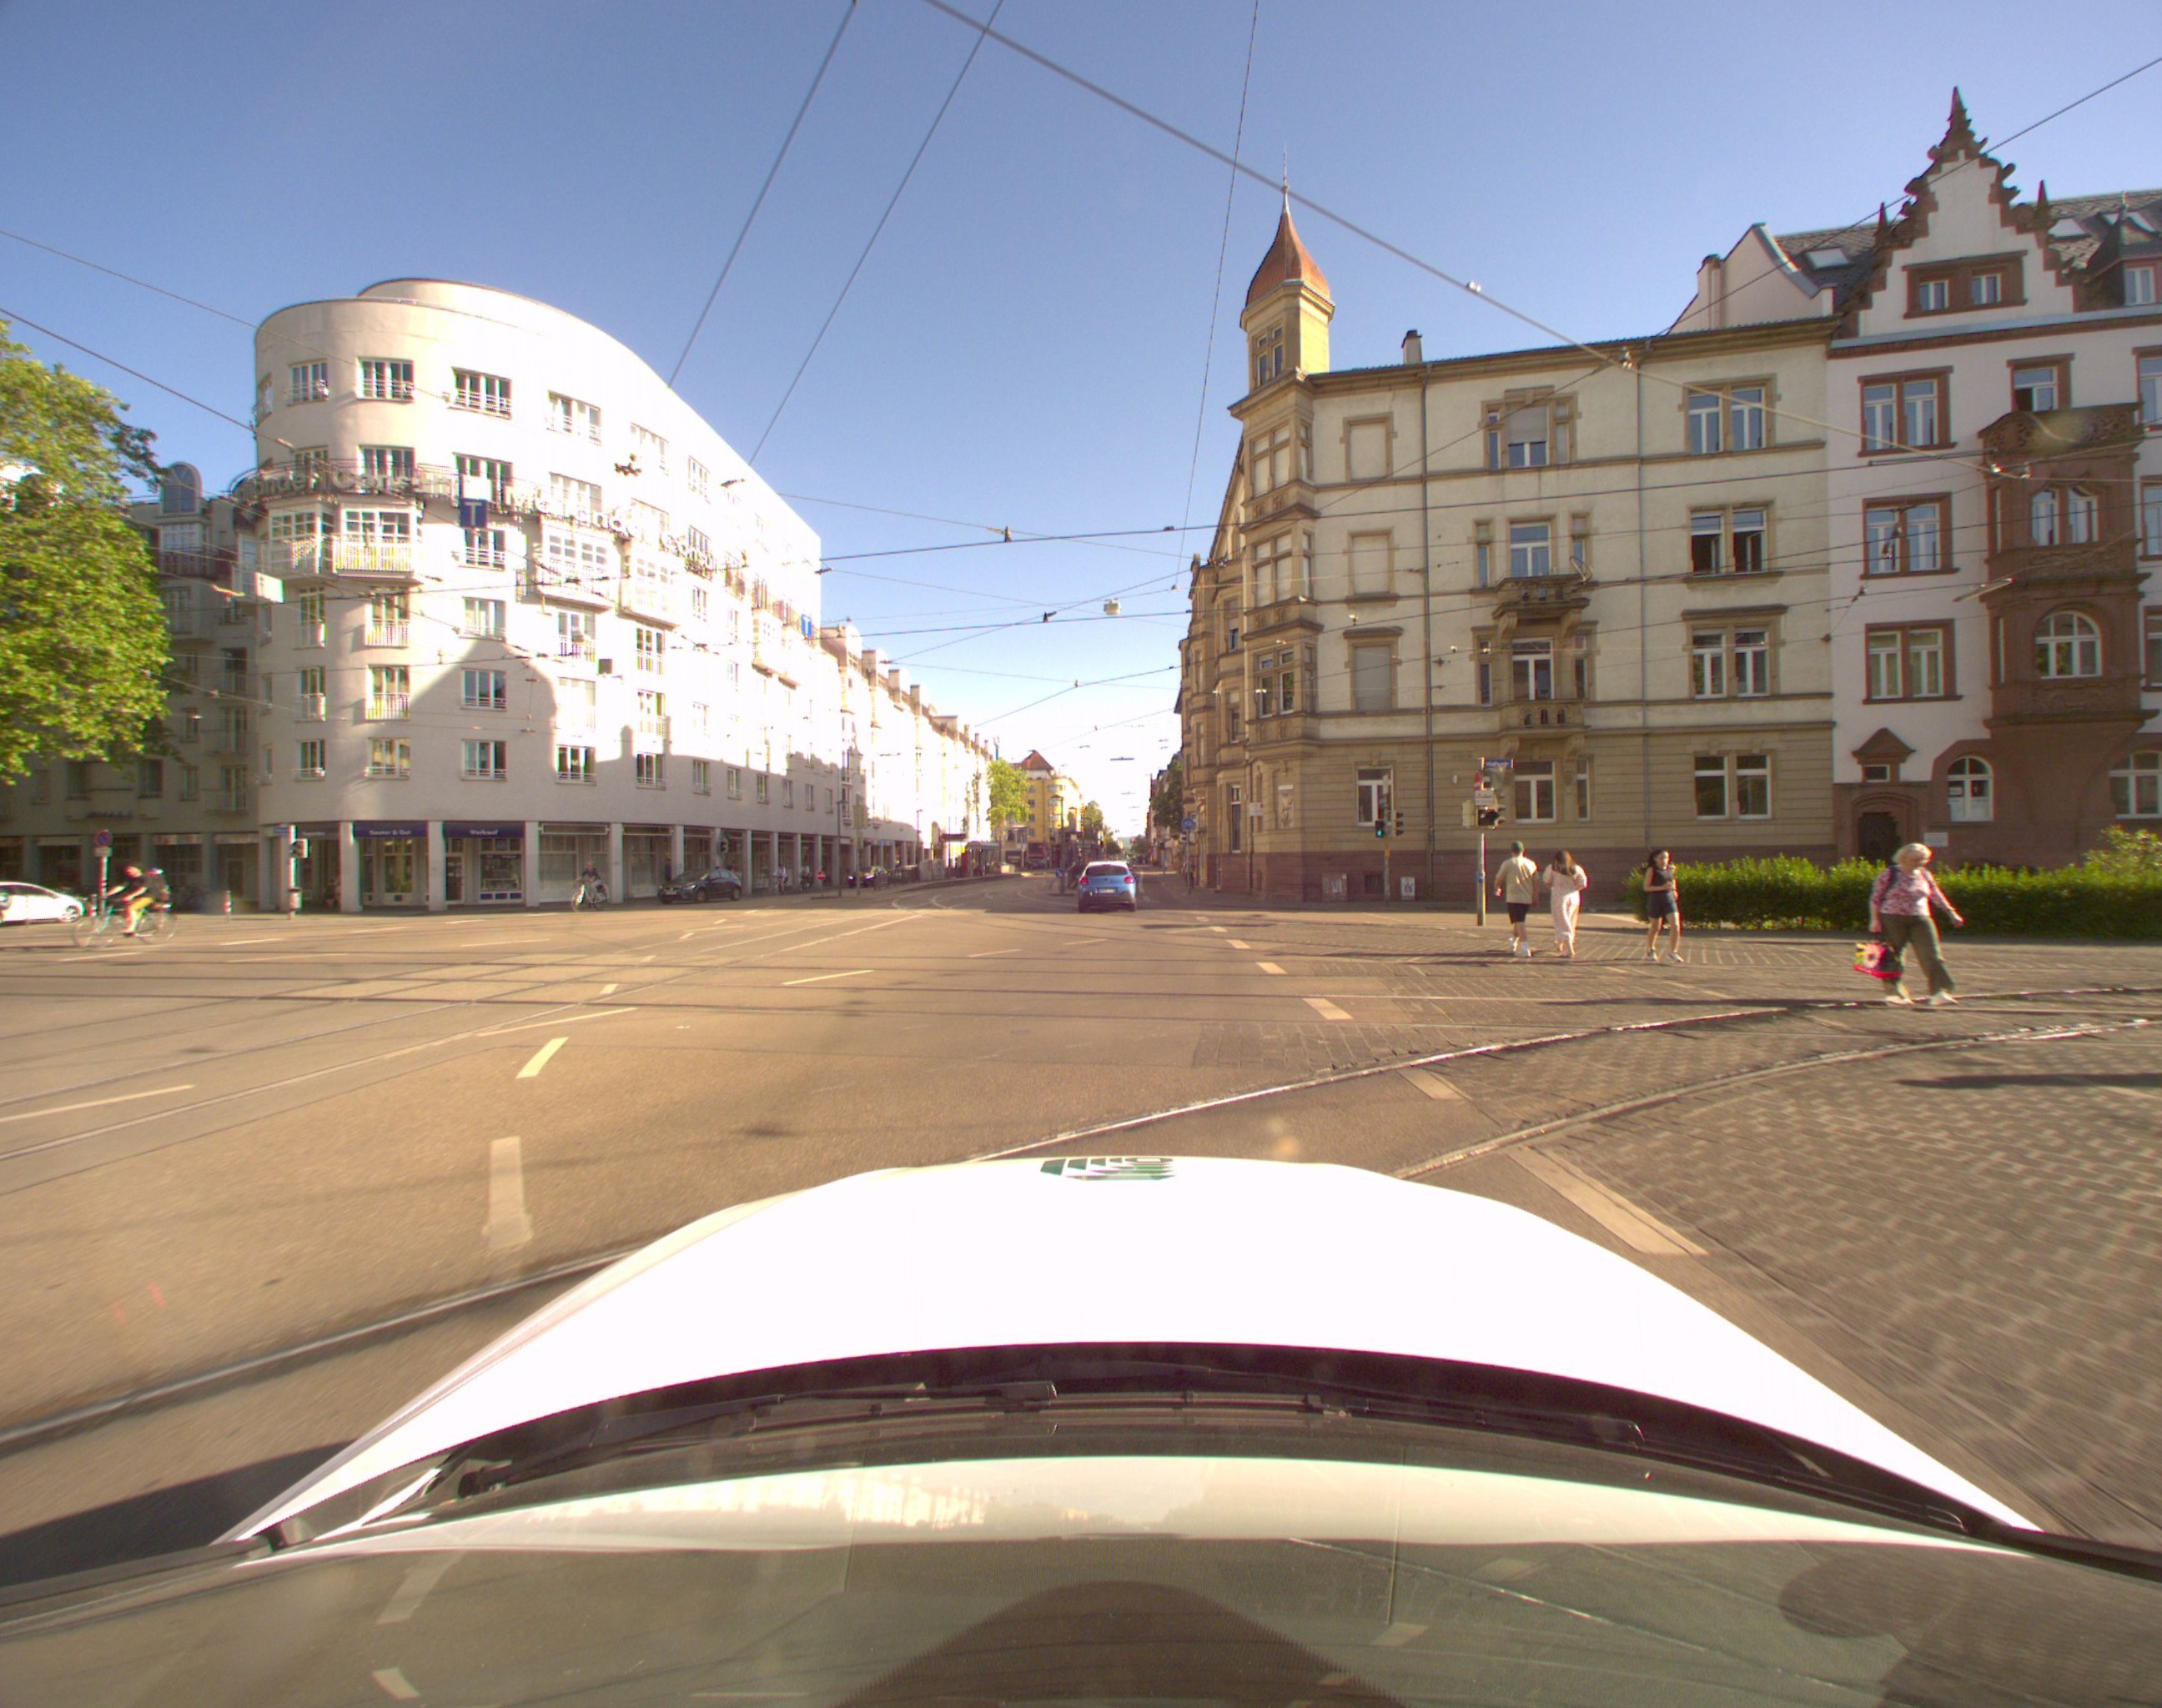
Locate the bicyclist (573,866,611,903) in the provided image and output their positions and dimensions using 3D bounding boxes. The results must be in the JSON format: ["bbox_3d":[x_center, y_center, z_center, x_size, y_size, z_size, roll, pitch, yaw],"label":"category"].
[{"bbox_3d":[-17.275,1.070,28.772,0.584,1.285,0.996,-1,0,15],"label":"bicyclist"}]

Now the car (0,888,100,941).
[{"bbox_3d":[-35.134,1.996,26.514,1.798,1.402,4.089,-1,3,-10],"label":"car"}]

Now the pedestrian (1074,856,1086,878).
[{"bbox_3d":[-0.112,1.022,64.556,0.710,1.777,0.569,-1,1,39],"label":"pedestrian"}]

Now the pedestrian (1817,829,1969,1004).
[{"bbox_3d":[8.173,0.587,8.259,0.913,1.632,0.948,-1,-1,35],"label":"pedestrian"}]

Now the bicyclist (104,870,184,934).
[{"bbox_3d":[-19.848,0.998,17.271,0.586,1.285,0.928,-1,0,4],"label":"bicyclist"}]

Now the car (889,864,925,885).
[{"bbox_3d":[-13.794,1.572,64.736,1.721,1.514,4.408,-1,1,3],"label":"car"}]

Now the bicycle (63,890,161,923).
[{"bbox_3d":[-38.863,2.104,32.690,2.881,1.234,0.598,-1,2,-6],"label":"bicycle"}]

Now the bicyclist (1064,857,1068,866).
[{"bbox_3d":[-2.539,1.226,139.068,0.669,1.557,0.779,0,1,5],"label":"bicyclist"}]

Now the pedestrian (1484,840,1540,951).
[{"bbox_3d":[6.620,0.622,12.540,0.694,1.654,0.635,-1,-1,25],"label":"pedestrian"}]

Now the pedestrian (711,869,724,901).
[{"bbox_3d":[-17.768,1.502,39.782,0.444,1.534,0.676,-2,2,-33],"label":"pedestrian"}]

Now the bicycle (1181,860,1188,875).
[{"bbox_3d":[8.300,1.095,65.266,0.457,1.123,1.775,-2,1,4],"label":"bicycle"}]

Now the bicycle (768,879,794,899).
[{"bbox_3d":[-16.096,1.884,43.728,0.591,0.972,2.013,-1,0,2],"label":"bicycle"}]

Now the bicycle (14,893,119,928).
[{"bbox_3d":[-38.658,2.137,31.062,2.881,1.234,0.598,-1,2,-6],"label":"bicycle"}]

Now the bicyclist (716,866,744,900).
[{"bbox_3d":[-18.059,1.484,41.906,0.715,1.695,1.036,0,0,32],"label":"bicyclist"}]

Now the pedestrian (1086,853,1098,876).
[{"bbox_3d":[0.811,0.757,59.703,0.632,1.697,0.936,1,0,11],"label":"pedestrian"}]

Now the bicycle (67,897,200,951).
[{"bbox_3d":[-19.845,1.447,17.117,0.591,0.972,1.820,-1,0,4],"label":"bicycle"}]

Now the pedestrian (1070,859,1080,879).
[{"bbox_3d":[-0.463,1.176,63.910,0.579,1.561,0.472,-1,1,39],"label":"pedestrian"}]

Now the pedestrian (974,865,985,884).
[{"bbox_3d":[-8.419,1.709,67.618,0.728,1.527,0.743,0,1,2],"label":"pedestrian"}]

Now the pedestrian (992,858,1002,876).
[{"bbox_3d":[-7.462,1.119,72.086,0.728,1.559,0.743,0,1,2],"label":"pedestrian"}]

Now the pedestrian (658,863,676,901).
[{"bbox_3d":[-20.393,1.371,40.144,0.458,1.832,0.746,0,2,2],"label":"pedestrian"}]

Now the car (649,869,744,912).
[{"bbox_3d":[-16.220,1.503,34.611,1.986,1.596,4.001,-1,0,2],"label":"car"}]

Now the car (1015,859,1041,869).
[{"bbox_3d":[-8.518,1.611,131.826,3.973,1.674,1.958,-1,1,0],"label":"car"}]

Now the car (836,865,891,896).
[{"bbox_3d":[-14.780,1.763,55.607,2.218,1.911,4.613,-1,1,3],"label":"car"}]

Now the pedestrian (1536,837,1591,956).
[{"bbox_3d":[7.328,0.621,12.398,0.637,1.745,0.709,1,-1,25],"label":"pedestrian"}]

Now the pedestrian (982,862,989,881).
[{"bbox_3d":[-10.234,1.866,87.253,0.666,2.014,0.709,1,0,5],"label":"pedestrian"}]

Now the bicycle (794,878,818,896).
[{"bbox_3d":[-16.082,1.933,47.671,0.591,0.972,2.048,-1,0,2],"label":"bicycle"}]

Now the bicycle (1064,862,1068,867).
[{"bbox_3d":[-2.555,1.832,139.095,0.563,0.757,1.940,0,1,5],"label":"bicycle"}]

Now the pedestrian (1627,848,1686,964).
[{"bbox_3d":[8.075,0.694,11.432,0.626,1.537,0.948,-1,-1,35],"label":"pedestrian"}]

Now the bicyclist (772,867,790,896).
[{"bbox_3d":[-16.118,1.475,43.777,0.586,1.488,0.928,-1,0,2],"label":"bicyclist"}]

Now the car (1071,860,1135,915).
[{"bbox_3d":[0.736,0.965,24.836,1.773,1.450,3.658,1,1,4],"label":"car"}]

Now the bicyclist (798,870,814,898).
[{"bbox_3d":[-16.089,1.767,47.661,0.586,1.585,0.896,-1,-1,2],"label":"bicyclist"}]

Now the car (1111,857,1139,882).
[{"bbox_3d":[3.264,1.077,59.633,1.985,1.742,4.004,1,0,4],"label":"car"}]

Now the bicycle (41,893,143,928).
[{"bbox_3d":[-38.750,2.212,31.933,2.881,1.234,0.598,-1,2,-6],"label":"bicycle"}]

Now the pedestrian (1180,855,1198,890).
[{"bbox_3d":[5.608,0.958,42.368,0.777,1.749,1.094,0,2,1],"label":"pedestrian"}]

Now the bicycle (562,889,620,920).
[{"bbox_3d":[-17.270,1.762,28.728,0.589,0.972,1.862,-1,0,14],"label":"bicycle"}]

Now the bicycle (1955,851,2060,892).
[{"bbox_3d":[27.184,0.514,23.924,2.172,1.174,0.527,-1,0,11],"label":"bicycle"}]
